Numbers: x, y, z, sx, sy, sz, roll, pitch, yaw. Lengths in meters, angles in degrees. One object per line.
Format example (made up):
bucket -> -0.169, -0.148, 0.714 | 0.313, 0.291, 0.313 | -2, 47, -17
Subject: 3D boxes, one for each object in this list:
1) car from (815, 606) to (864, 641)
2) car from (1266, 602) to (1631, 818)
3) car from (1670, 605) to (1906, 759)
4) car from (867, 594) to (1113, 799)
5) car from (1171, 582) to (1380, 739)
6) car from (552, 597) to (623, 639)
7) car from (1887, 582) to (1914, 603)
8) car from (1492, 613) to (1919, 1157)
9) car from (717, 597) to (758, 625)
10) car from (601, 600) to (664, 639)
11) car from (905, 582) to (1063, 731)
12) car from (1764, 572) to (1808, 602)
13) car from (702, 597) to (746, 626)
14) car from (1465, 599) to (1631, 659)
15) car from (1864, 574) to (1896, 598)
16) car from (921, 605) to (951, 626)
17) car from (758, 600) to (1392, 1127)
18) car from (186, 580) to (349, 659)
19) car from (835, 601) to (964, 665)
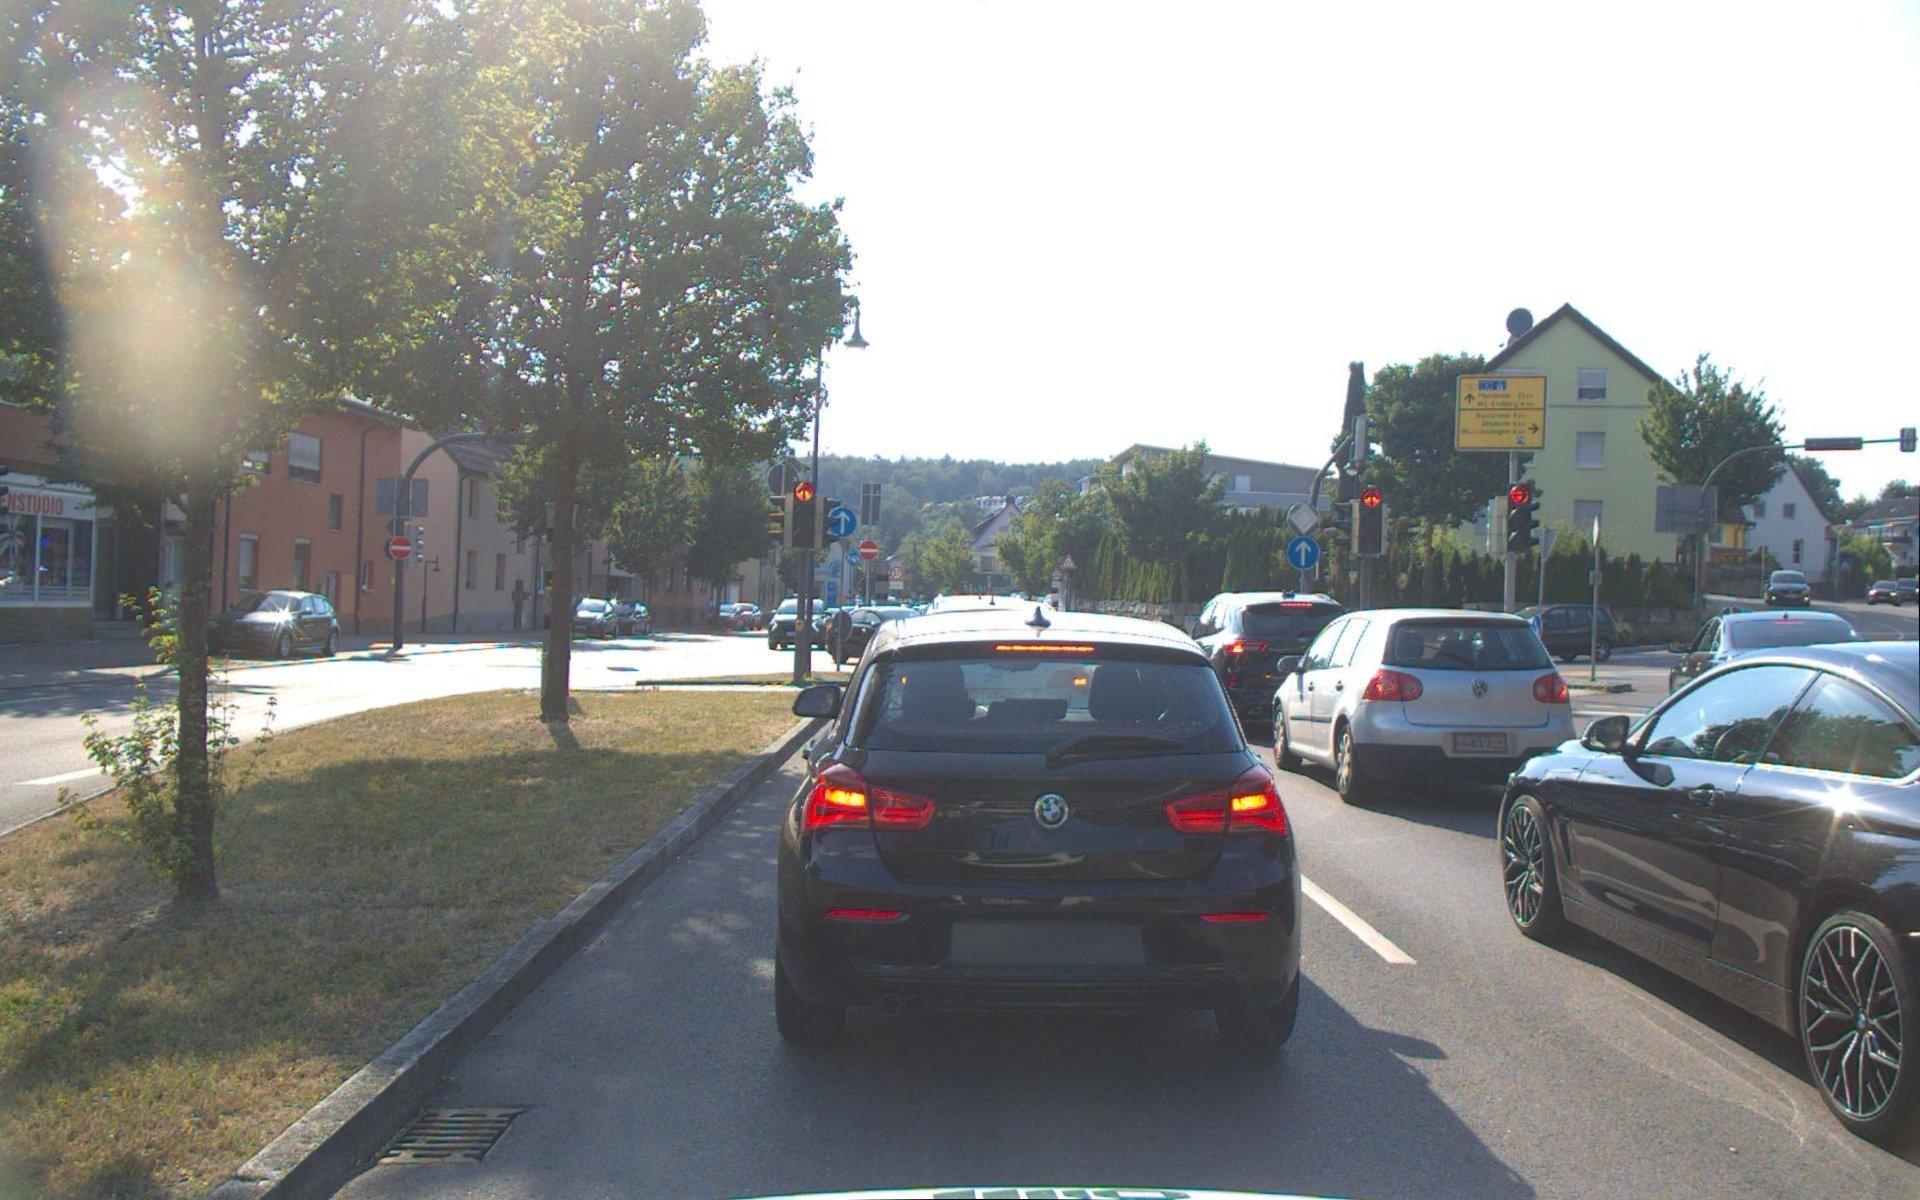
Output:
car -> -5.000, 0.956, 69.135 | 1.658, 1.377, 4.000 | 1, 0, 1
car -> 3.814, 0.769, 13.717 | 1.779, 1.471, 4.347 | 1, 0, 1
car -> 9.079, 0.802, 18.481 | 1.646, 1.460, 4.591 | 1, 0, 18
car -> 0.249, 0.703, 14.236 | 1.779, 1.476, 4.242 | 1, 0, 1
car -> 3.742, 0.661, 20.334 | 1.779, 1.695, 4.347 | 1, 0, 1
car -> -15.032, 0.693, 66.950 | 1.884, 1.624, 4.000 | 1, 0, 1
car -> 76.879, -0.616, 135.200 | 1.744, 1.607, 3.990 | 1, 0, 32
car -> 3.473, 0.788, 5.921 | 1.779, 1.413, 4.347 | 1, 0, 1
car -> -13.768, 0.669, 102.587 | 1.884, 1.624, 4.000 | 1, 0, 1
car -> -14.386, 0.852, 72.925 | 1.884, 1.624, 4.000 | 1, 0, 1
car -> 0.299, 0.643, 20.972 | 1.779, 1.670, 4.242 | 1, 0, 1
car -> 36.144, -0.597, 72.428 | 1.677, 1.266, 3.997 | 1, 1, 26
car -> -13.814, 0.679, 97.081 | 1.884, 1.624, 4.000 | 1, 0, 1
car -> 16.018, 0.788, 45.073 | 3.990, 1.533, 1.784 | 1, 0, -16
car -> 64.313, -0.952, 115.589 | 1.744, 1.607, 3.989 | 1, 0, 33
car -> -1.906, 1.205, 129.985 | 1.826, 1.511, 4.652 | 1, 0, -6
car -> 0.350, 0.734, 6.792 | 1.754, 1.439, 4.347 | 1, 0, 1
car -> -15.519, 0.413, 37.285 | 1.805, 1.579, 4.001 | 3, 0, 2
car -> -1.573, 0.807, 41.766 | 1.746, 1.484, 3.965 | 1, 0, -27
